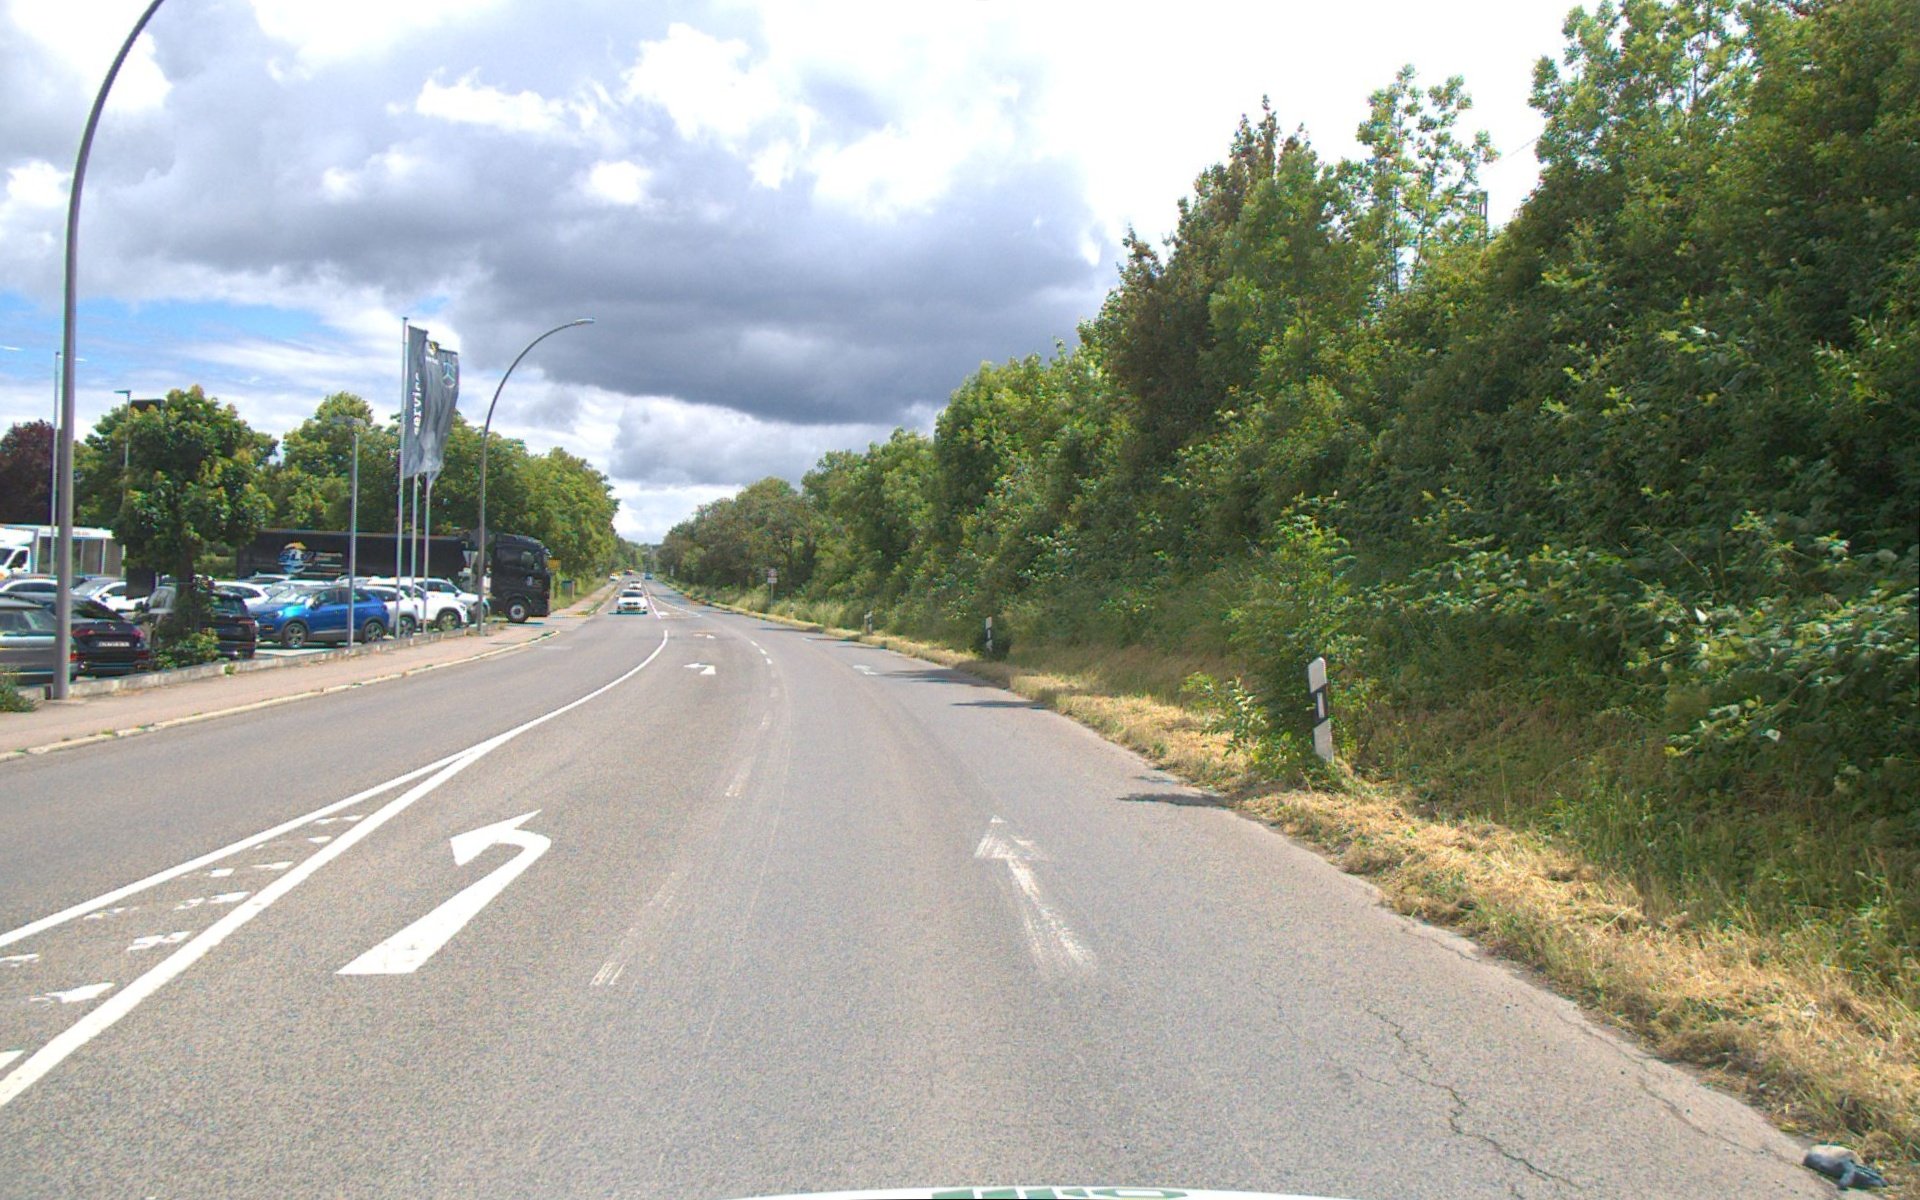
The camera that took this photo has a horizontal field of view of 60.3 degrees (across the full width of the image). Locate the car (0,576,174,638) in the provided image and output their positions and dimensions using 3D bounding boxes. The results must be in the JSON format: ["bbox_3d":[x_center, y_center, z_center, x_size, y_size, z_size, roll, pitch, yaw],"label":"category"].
[{"bbox_3d":[-25.003,0.205,47.496,1.955,1.673,3.995,1,0,27],"label":"car"}]

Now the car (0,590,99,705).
[{"bbox_3d":[-14.293,0.591,23.293,4.110,1.505,1.793,2,0,27],"label":"car"}]

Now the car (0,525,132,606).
[{"bbox_3d":[-40.846,-1.466,73.595,3.132,3.394,8.186,2,0,6],"label":"car"}]

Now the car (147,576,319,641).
[{"bbox_3d":[-20.042,0.248,45.759,1.955,1.659,3.995,1,0,27],"label":"car"}]

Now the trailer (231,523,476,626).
[{"bbox_3d":[-25.723,-1.112,70.310,9.594,4.165,2.805,-1,1,-24],"label":"trailer"}]

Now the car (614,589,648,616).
[{"bbox_3d":[-19.979,0.168,100.551,1.958,1.564,3.990,2,0,-11],"label":"car"}]

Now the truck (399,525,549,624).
[{"bbox_3d":[-21.230,-1.117,72.259,6.034,4.165,2.807,-1,0,-23],"label":"truck"}]

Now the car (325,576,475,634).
[{"bbox_3d":[-18.516,0.182,54.750,4.272,1.793,1.972,2,0,-39],"label":"car"}]

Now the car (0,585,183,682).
[{"bbox_3d":[-14.774,0.503,26.941,4.110,1.426,1.658,2,0,27],"label":"car"}]

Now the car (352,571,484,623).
[{"bbox_3d":[-20.176,-0.107,61.639,4.272,1.793,1.972,2,0,-39],"label":"car"}]

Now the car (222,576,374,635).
[{"bbox_3d":[-20.089,0.193,50.333,1.955,1.682,3.995,1,0,27],"label":"car"}]

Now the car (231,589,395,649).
[{"bbox_3d":[-17.250,0.509,44.272,1.594,1.501,3.995,1,0,27],"label":"car"}]

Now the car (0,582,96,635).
[{"bbox_3d":[-27.524,0.230,47.941,1.955,1.480,3.995,1,0,27],"label":"car"}]

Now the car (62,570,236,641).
[{"bbox_3d":[-22.704,0.175,46.438,1.955,1.862,3.995,1,0,27],"label":"car"}]
